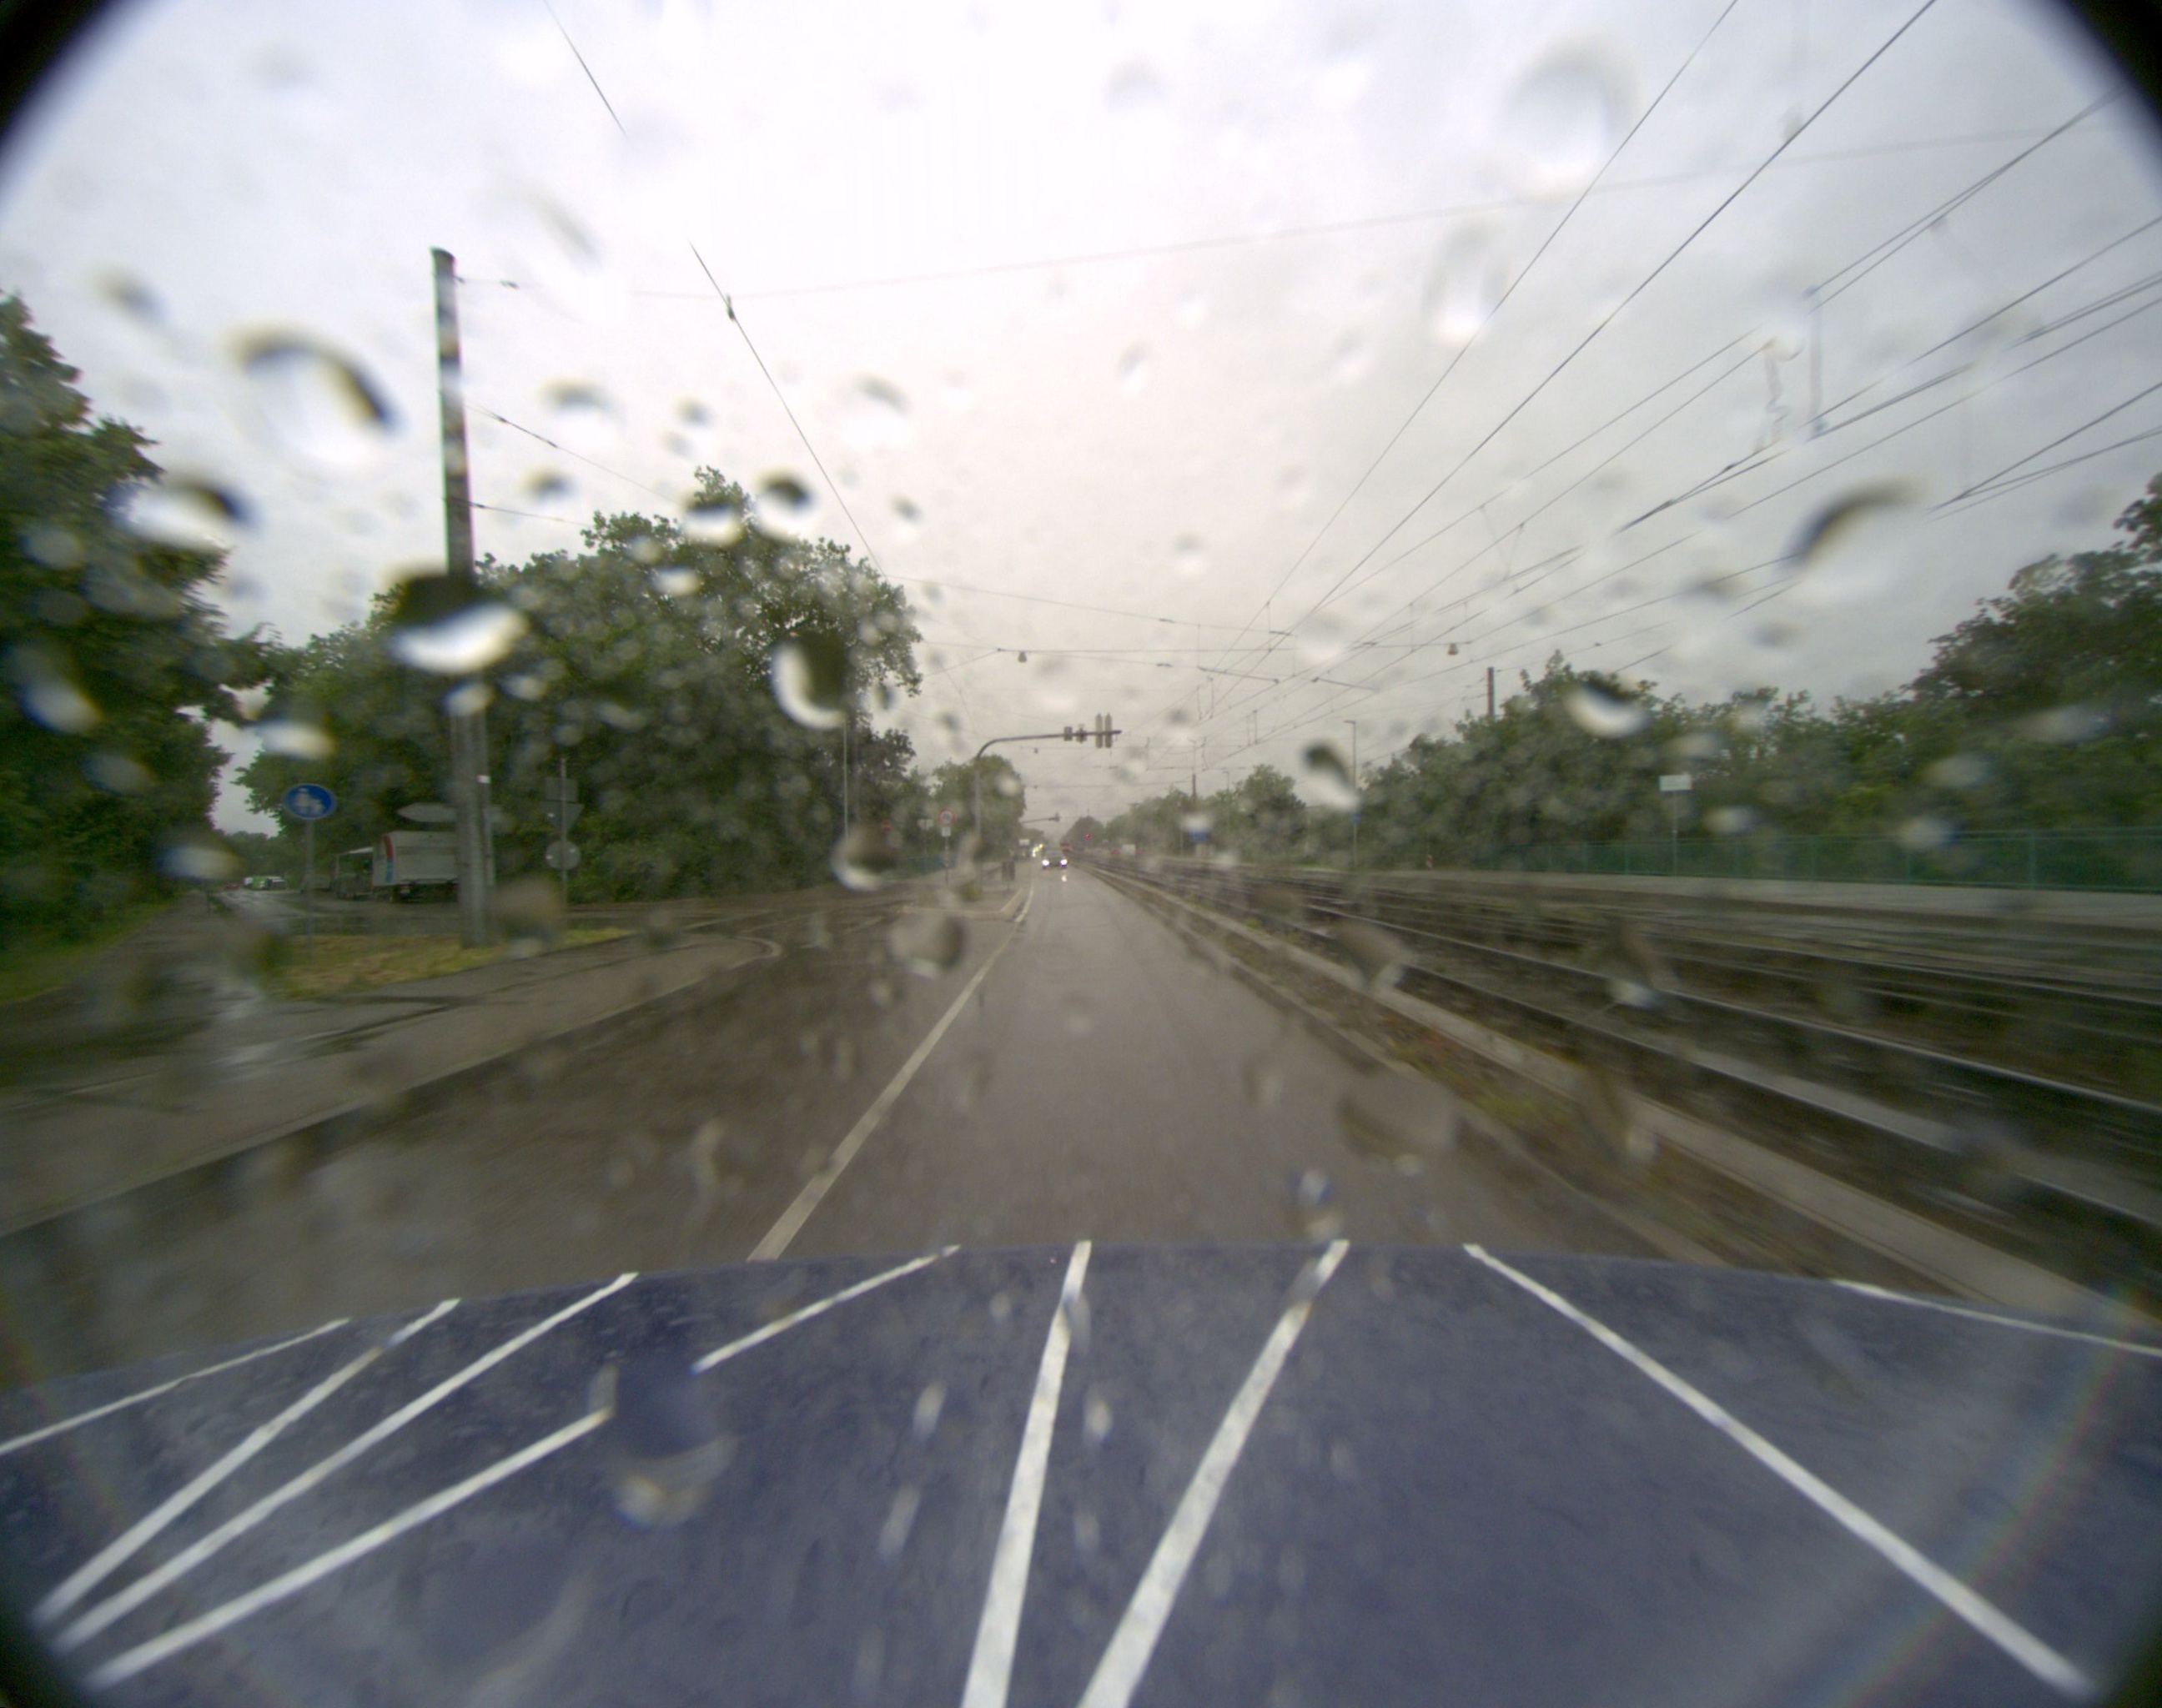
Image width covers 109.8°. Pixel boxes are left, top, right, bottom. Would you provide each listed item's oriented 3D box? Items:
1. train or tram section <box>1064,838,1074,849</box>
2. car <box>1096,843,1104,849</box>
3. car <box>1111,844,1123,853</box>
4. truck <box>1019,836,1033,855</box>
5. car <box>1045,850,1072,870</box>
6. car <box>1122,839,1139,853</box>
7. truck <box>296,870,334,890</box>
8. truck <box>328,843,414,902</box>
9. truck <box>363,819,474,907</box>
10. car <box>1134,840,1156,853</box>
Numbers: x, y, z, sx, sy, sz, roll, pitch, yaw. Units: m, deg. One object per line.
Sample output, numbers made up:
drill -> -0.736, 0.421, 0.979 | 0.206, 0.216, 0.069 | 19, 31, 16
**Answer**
train or tram section -> -3.986, -3.624, 254.735 | 2.461, 3.604, 15.098 | -3, 1, -3
car -> 5.408, -2.321, 217.821 | 1.999, 1.639, 5.369 | -3, 1, -3
car -> 6.700, -0.992, 140.586 | 1.729, 1.592, 3.648 | -3, 2, -3
truck -> -11.599, -1.677, 161.207 | 2.567, 3.847, 7.843 | -3, 0, -3
car -> -1.871, 0.440, 62.008 | 1.999, 1.497, 4.195 | -3, 0, -3
car -> 7.592, -1.228, 117.534 | 1.999, 2.032, 5.025 | -3, 1, -3
truck -> -79.713, 2.680, 79.040 | 6.645, 1.858, 2.152 | -1, 2, 40
truck -> -44.629, 1.128, 47.649 | 8.517, 3.340, 2.547 | -1, 2, 39
truck -> -35.452, 0.452, 40.558 | 8.349, 4.209, 3.022 | -1, 2, 40
car -> 8.171, -0.982, 97.928 | 1.999, 1.639, 5.369 | -3, 1, -3
